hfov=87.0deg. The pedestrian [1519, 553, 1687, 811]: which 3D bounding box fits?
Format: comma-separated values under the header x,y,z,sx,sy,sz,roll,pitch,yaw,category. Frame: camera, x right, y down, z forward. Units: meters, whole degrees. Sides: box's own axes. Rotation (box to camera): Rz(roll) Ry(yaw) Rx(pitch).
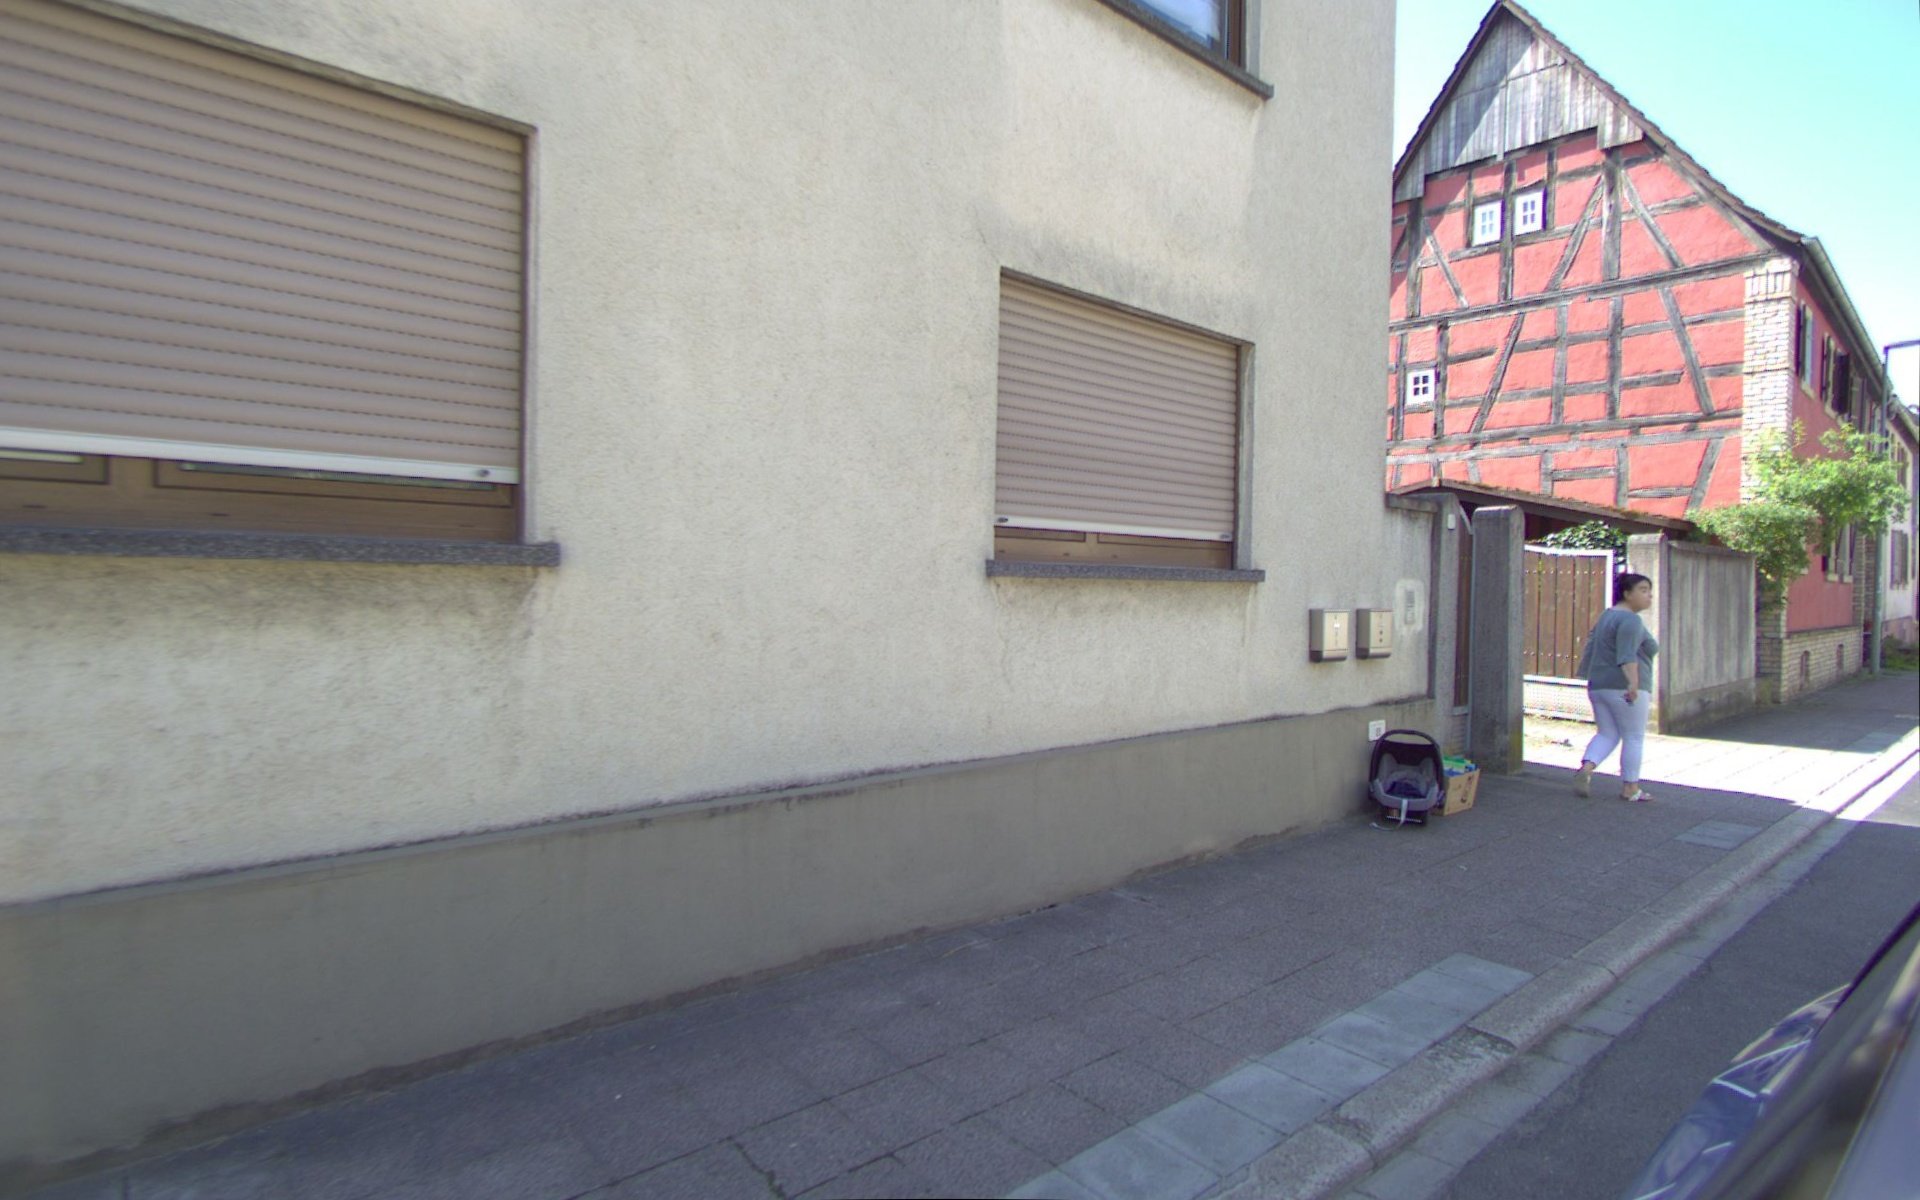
x,y,z,sx,sy,sz,roll,pitch,yaw,category
4.537,0.530,7.142,0.876,1.685,0.721,1,0,-36,pedestrian
